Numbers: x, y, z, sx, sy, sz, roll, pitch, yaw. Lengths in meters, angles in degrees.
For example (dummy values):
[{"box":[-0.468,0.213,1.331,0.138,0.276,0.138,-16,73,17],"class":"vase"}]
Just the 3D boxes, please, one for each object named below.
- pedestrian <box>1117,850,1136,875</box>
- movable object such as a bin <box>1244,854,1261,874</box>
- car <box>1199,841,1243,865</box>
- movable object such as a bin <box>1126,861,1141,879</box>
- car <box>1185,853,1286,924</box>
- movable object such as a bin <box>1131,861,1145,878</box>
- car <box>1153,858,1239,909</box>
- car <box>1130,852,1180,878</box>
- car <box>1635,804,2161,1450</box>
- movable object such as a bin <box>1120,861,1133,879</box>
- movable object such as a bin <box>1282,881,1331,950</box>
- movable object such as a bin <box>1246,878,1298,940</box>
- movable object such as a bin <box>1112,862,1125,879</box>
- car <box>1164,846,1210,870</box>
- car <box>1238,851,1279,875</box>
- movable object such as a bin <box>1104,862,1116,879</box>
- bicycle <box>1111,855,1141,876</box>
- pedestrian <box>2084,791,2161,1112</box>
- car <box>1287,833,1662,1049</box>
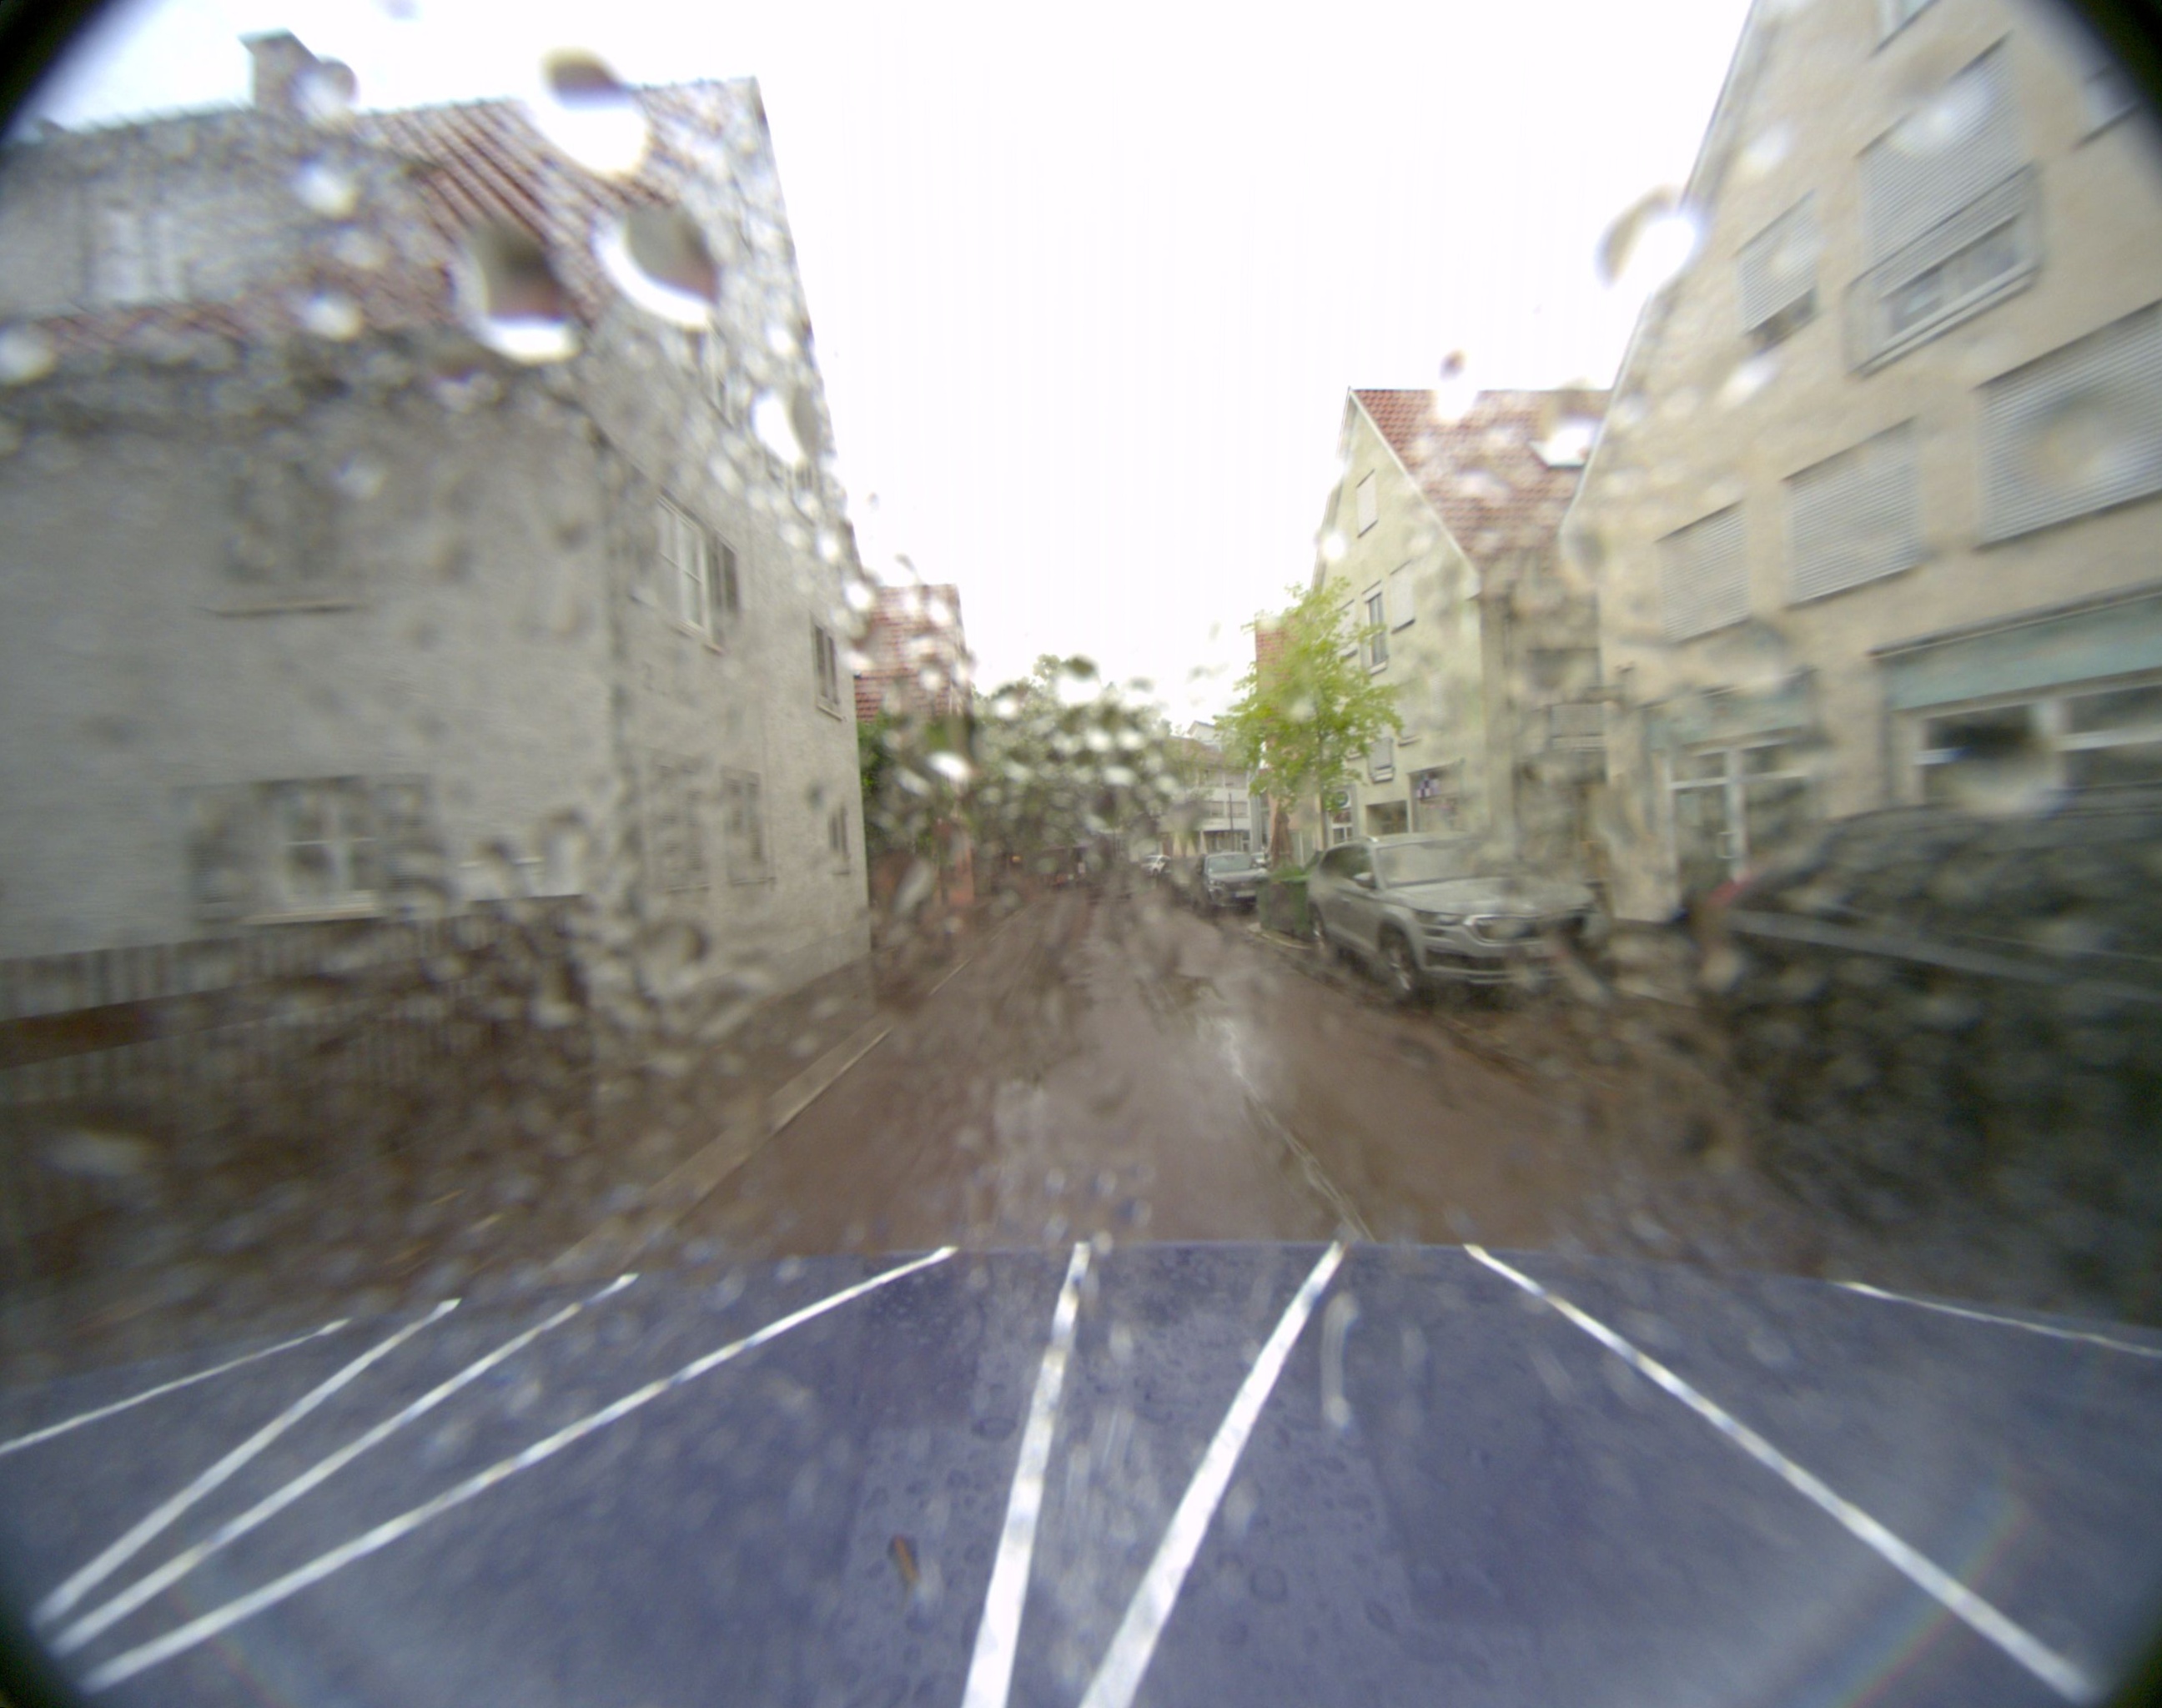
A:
[{"box":[3.265,0.617,54.464,0.910,1.689,0.863,0,4,44],"class":"pedestrian"},{"box":[10.677,0.608,47.342,0.700,1.115,0.720,-6,1,32],"class":"movable object such as a bin"},{"box":[11.618,-0.116,62.822,1.789,1.630,4.447,-3,2,35],"class":"car"},{"box":[3.499,1.072,50.537,0.726,1.077,0.605,-4,2,24],"class":"movable object such as a bin"},{"box":[3.943,0.811,20.160,1.866,1.515,4.328,-5,0,3],"class":"car"},{"box":[3.823,1.031,51.134,0.726,1.087,0.611,-4,2,24],"class":"movable object such as a bin"},{"box":[3.754,0.916,25.608,1.867,1.433,4.618,-4,0,-4],"class":"car"},{"box":[5.255,0.768,53.467,1.788,1.546,3.956,-2,1,34],"class":"car"},{"box":[3.708,0.675,1.414,1.829,1.656,4.642,-5,0,0],"class":"car"},{"box":[3.068,1.084,50.903,0.538,1.136,0.729,-1,1,31],"class":"movable object such as a bin"},{"box":[3.681,0.998,12.433,0.553,1.040,0.534,-4,2,-3],"class":"movable object such as a bin"},{"box":[3.694,1.047,14.744,0.748,1.077,0.744,-5,2,-2],"class":"movable object such as a bin"},{"box":[2.550,1.095,51.221,0.538,1.124,0.729,-1,1,31],"class":"movable object such as a bin"},{"box":[8.105,0.311,58.029,1.789,1.460,3.955,-3,2,35],"class":"car"},{"box":[12.103,0.621,51.763,1.851,1.443,4.079,-4,-1,25],"class":"car"},{"box":[1.959,1.123,51.682,0.538,1.077,0.729,-1,1,31],"class":"movable object such as a bin"},{"box":[3.247,0.814,54.430,0.925,1.343,2.220,0,2,44],"class":"bicycle"},{"box":[6.151,0.499,3.789,0.791,1.672,1.175,-5,2,-19],"class":"pedestrian"},{"box":[3.879,0.661,8.590,1.828,1.657,4.641,-4,2,1],"class":"car"}]
